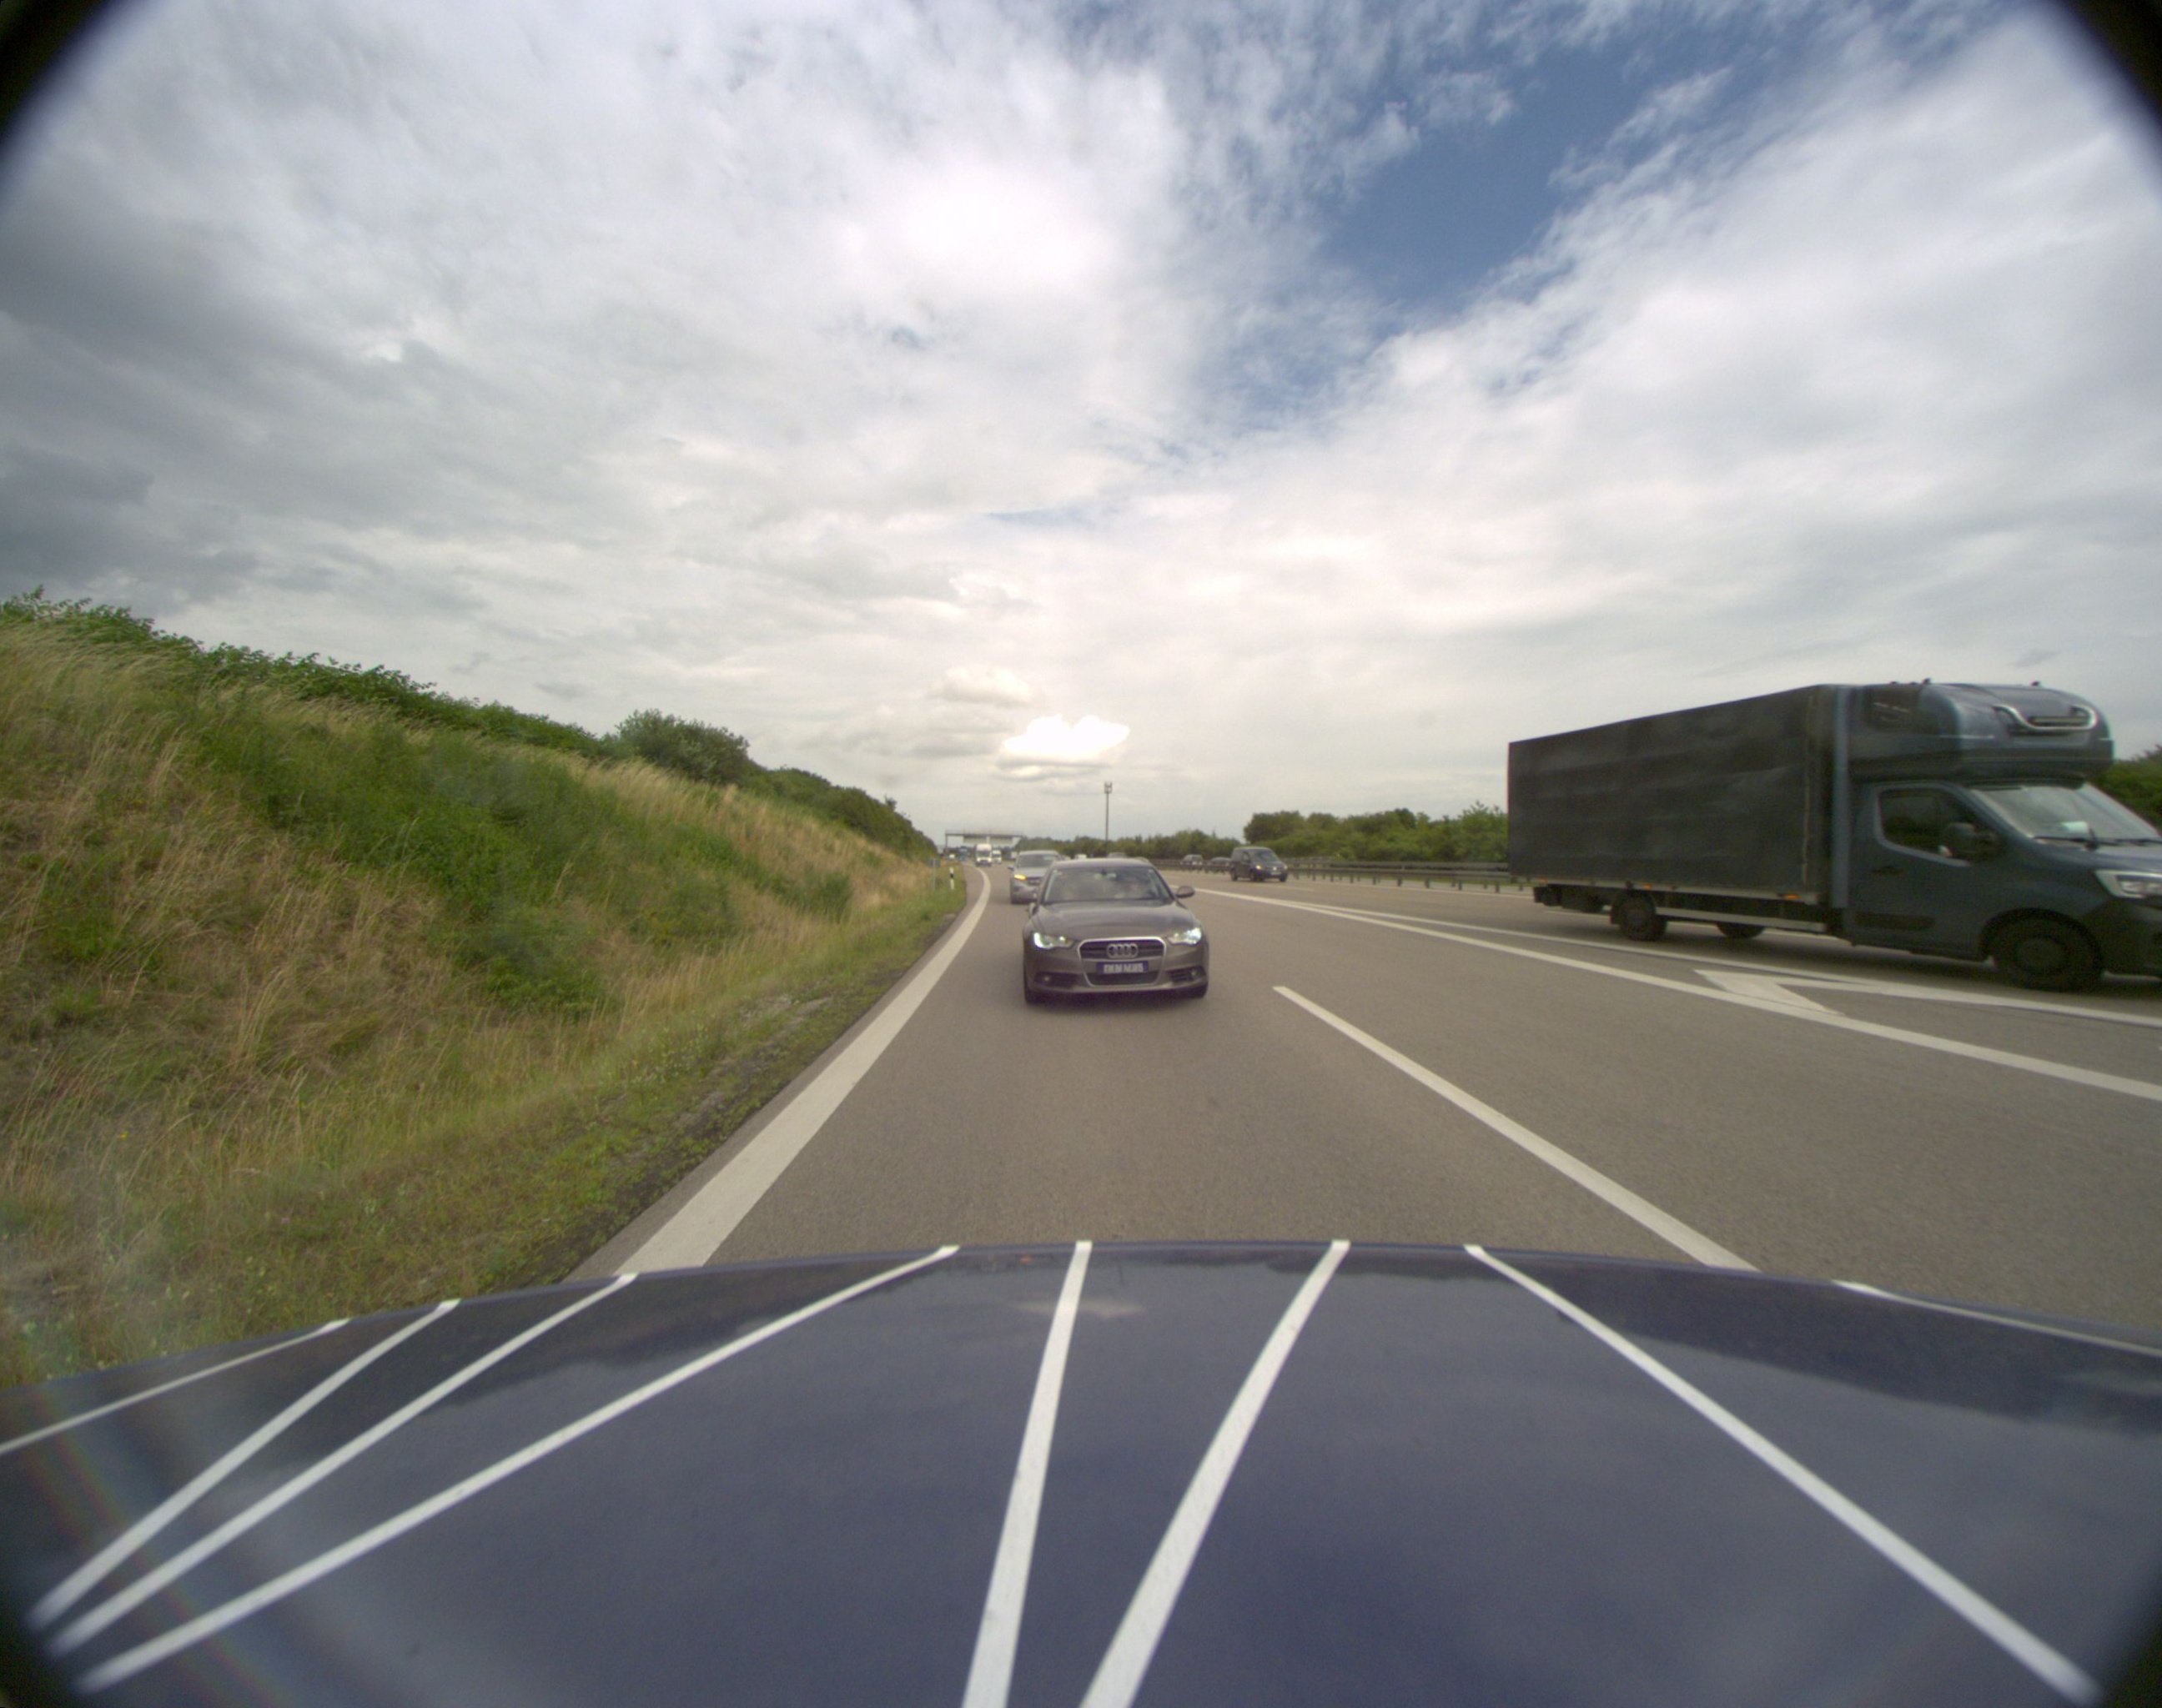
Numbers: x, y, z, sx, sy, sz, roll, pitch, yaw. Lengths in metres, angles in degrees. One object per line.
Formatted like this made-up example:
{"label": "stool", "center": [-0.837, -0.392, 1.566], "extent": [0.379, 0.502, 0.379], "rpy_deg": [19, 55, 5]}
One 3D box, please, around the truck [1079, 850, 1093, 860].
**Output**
{"label": "truck", "center": [1.036, 0.201, 146.934], "extent": [2.000, 2.002, 4.715], "rpy_deg": [-1, 0, -8]}

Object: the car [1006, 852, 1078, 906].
{"label": "car", "center": [-1.354, 0.739, 24.524], "extent": [2.000, 1.567, 3.997], "rpy_deg": [-1, 0, -7]}

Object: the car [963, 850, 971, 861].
{"label": "car", "center": [-38.624, 0.419, 257.065], "extent": [2.506, 3.689, 7.695], "rpy_deg": [0, 0, -9]}

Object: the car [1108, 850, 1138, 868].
{"label": "car", "center": [4.043, 0.486, 74.166], "extent": [2.000, 1.733, 4.825], "rpy_deg": [0, 0, -8]}

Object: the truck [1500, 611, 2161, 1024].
{"label": "truck", "center": [9.476, -0.286, 10.216], "extent": [2.475, 3.351, 7.918], "rpy_deg": [-1, 0, -8]}

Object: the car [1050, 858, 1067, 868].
{"label": "car", "center": [-3.470, 1.318, 118.101], "extent": [2.000, 1.501, 4.774], "rpy_deg": [0, 0, -10]}

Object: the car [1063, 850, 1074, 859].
{"label": "car", "center": [-3.152, 0.089, 192.426], "extent": [2.169, 2.120, 4.870], "rpy_deg": [-1, 0, -9]}

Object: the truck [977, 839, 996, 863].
{"label": "truck", "center": [-13.329, -0.405, 106.670], "extent": [2.450, 3.216, 7.185], "rpy_deg": [-1, 0, -8]}

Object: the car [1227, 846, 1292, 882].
{"label": "car", "center": [9.187, 0.464, 39.454], "extent": [1.851, 1.748, 4.333], "rpy_deg": [-1, 0, -8]}

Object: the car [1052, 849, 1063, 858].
{"label": "car", "center": [-6.416, -0.038, 204.512], "extent": [2.169, 2.317, 6.671], "rpy_deg": [-1, 0, -9]}

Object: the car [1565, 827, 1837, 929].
{"label": "car", "center": [12.283, 0.416, 15.460], "extent": [2.000, 1.799, 3.997], "rpy_deg": [0, 0, -7]}

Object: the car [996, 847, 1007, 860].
{"label": "car", "center": [-15.554, -0.157, 148.645], "extent": [2.000, 2.381, 3.997], "rpy_deg": [-2, 1, -6]}

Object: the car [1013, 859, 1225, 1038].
{"label": "car", "center": [0.246, 0.846, 8.743], "extent": [1.849, 1.489, 4.027], "rpy_deg": [-1, 0, -3]}

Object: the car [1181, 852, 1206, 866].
{"label": "car", "center": [13.495, 0.605, 91.315], "extent": [2.000, 1.641, 3.997], "rpy_deg": [-1, 0, -8]}
